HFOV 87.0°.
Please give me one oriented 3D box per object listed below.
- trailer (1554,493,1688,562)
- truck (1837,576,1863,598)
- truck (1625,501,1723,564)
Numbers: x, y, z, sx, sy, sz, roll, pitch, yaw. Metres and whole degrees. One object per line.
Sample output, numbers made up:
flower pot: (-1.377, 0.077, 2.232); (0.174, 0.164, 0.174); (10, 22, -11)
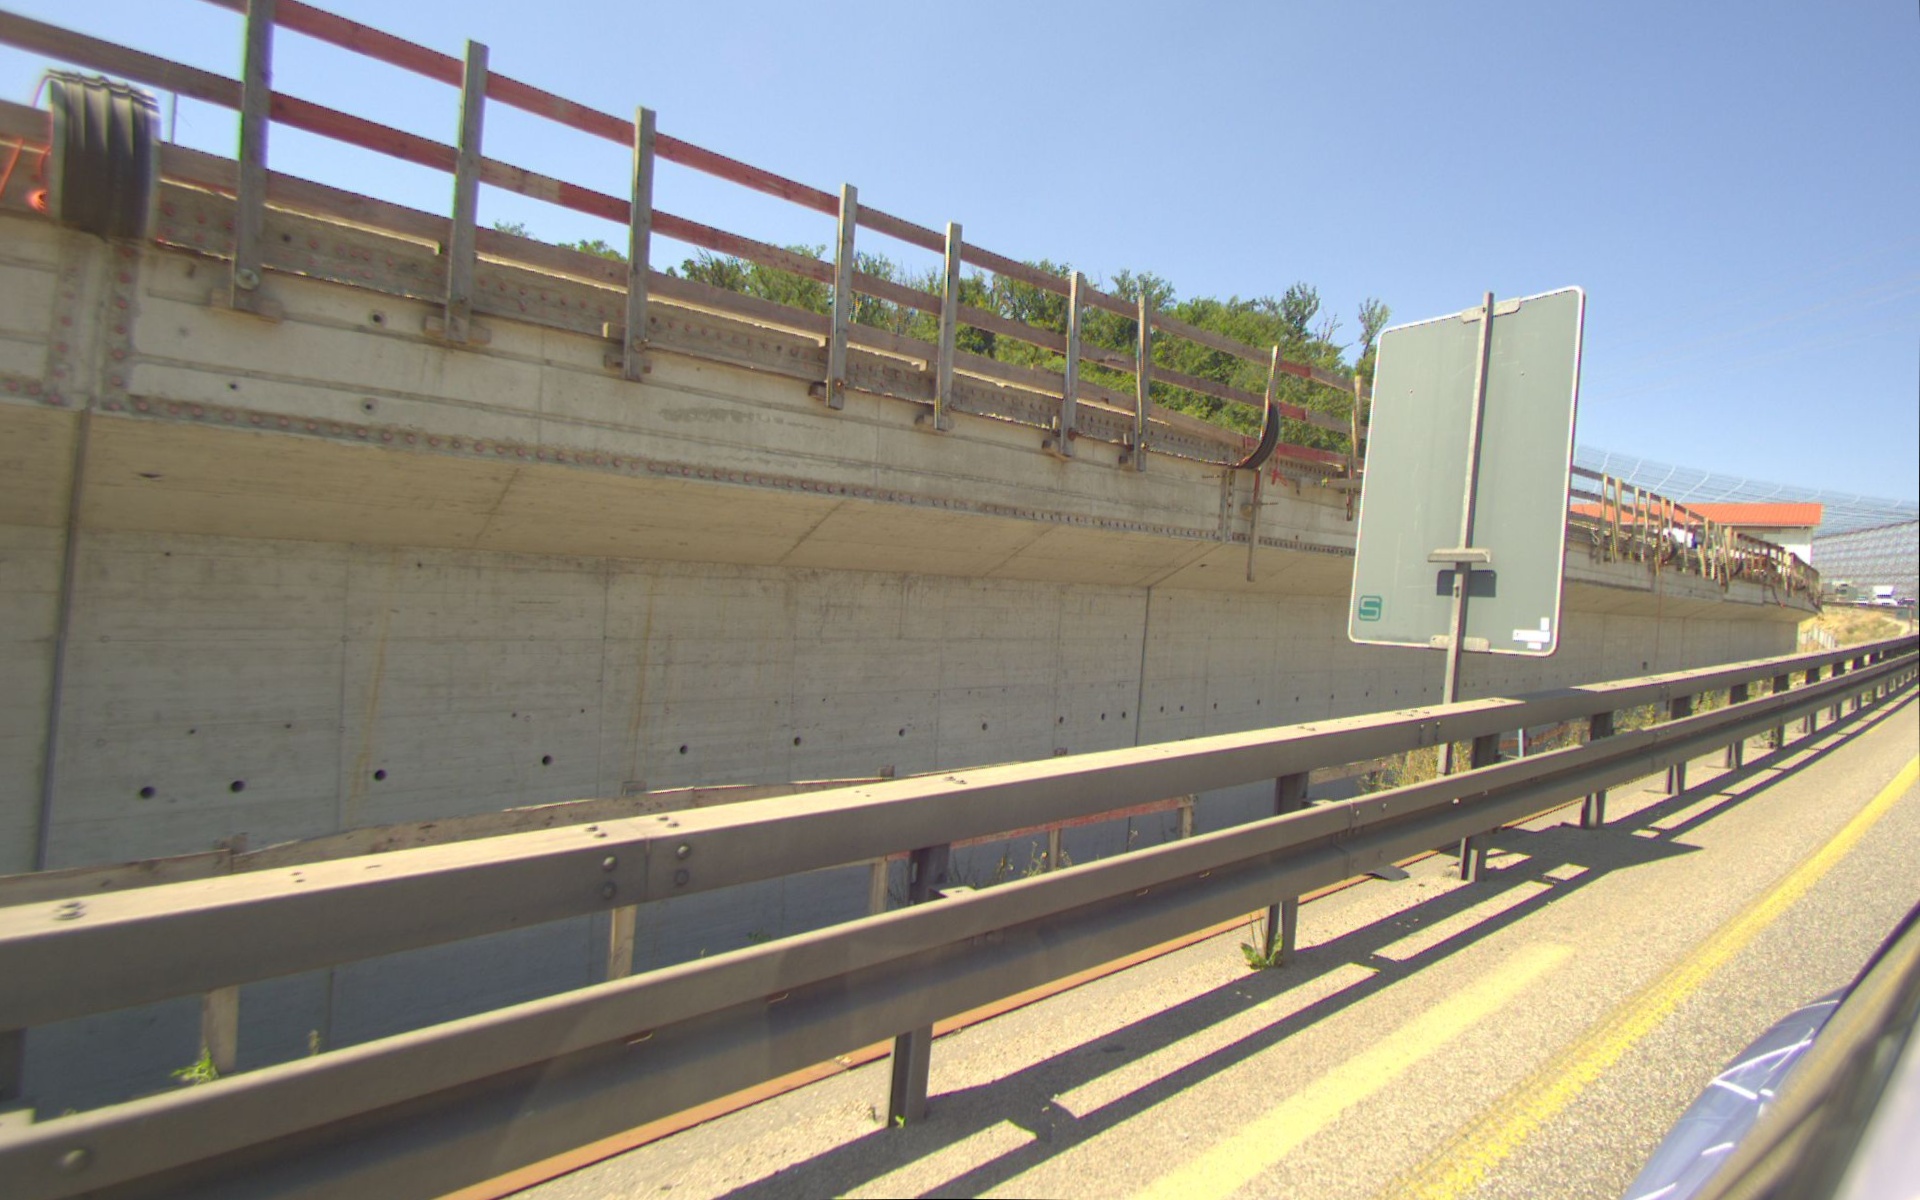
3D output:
trailer: (43.125, -4.648, 66.005); (8.807, 3.741, 2.725); (3, -1, -22)
truck: (154.608, -2.271, 175.735); (3.034, 3.793, 8.119); (0, 1, 44)
truck: (47.964, -4.454, 68.031); (5.591, 3.741, 2.725); (3, -1, -22)
